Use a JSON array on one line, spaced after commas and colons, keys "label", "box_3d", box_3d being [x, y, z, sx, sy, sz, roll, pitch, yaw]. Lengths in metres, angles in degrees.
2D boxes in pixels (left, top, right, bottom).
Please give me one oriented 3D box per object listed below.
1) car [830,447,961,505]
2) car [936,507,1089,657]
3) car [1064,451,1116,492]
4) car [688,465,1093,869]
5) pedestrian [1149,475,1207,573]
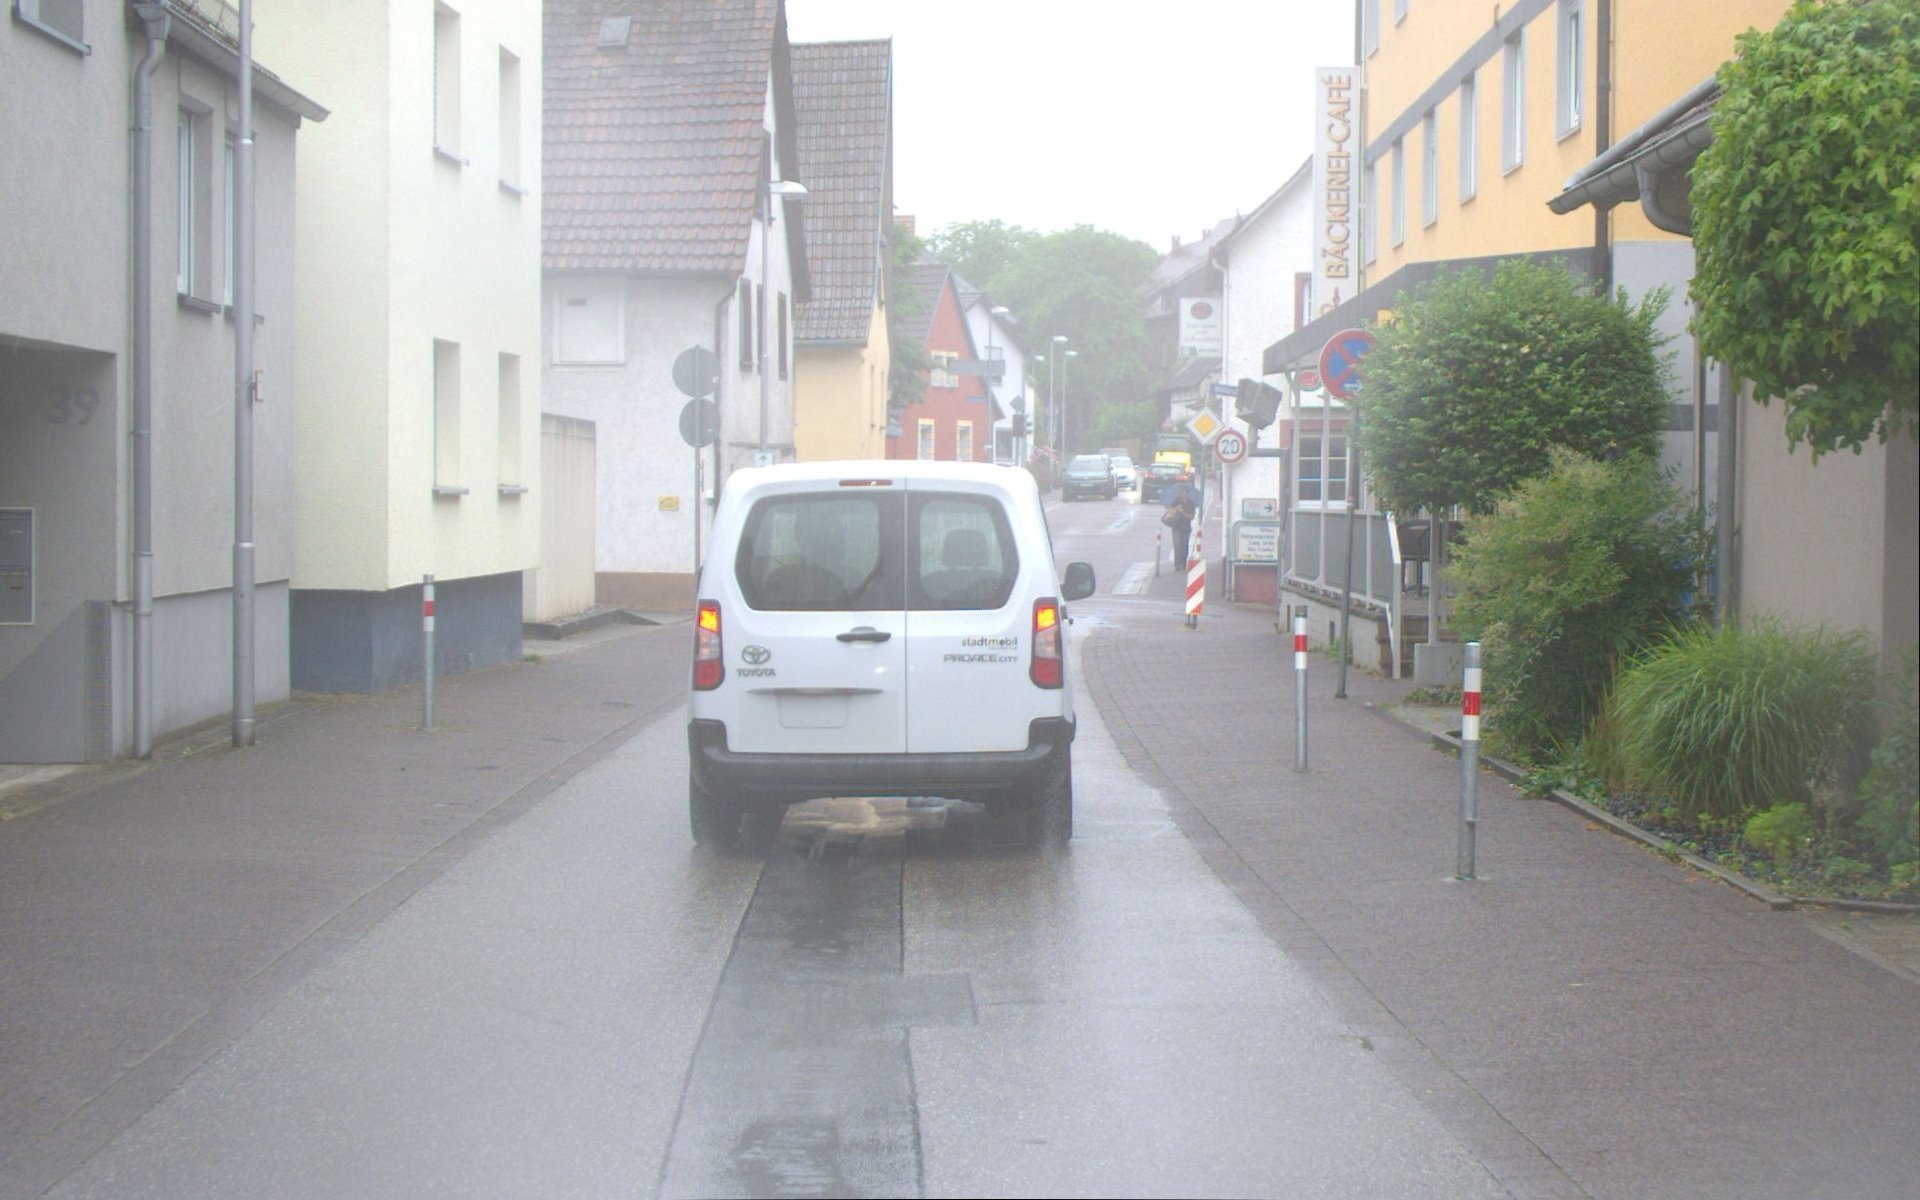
[{"label": "car", "box_3d": [-1.967, -3.793, 105.054, 3.420, 1.554, 2.001, -4, 3, -23]}, {"label": "car", "box_3d": [0.794, -0.288, 48.809, 1.994, 2.007, 4.000, -1, 1, 3]}, {"label": "car", "box_3d": [4.905, -4.824, 129.166, 1.589, 1.436, 3.765, 2, 1, 7]}, {"label": "car", "box_3d": [-0.324, 0.256, 17.296, 1.774, 1.774, 4.000, -1, 1, 0]}, {"label": "pedestrian", "box_3d": [4.279, -1.494, 67.599, 1.050, 1.886, 0.877, -1, 1, 0]}]
